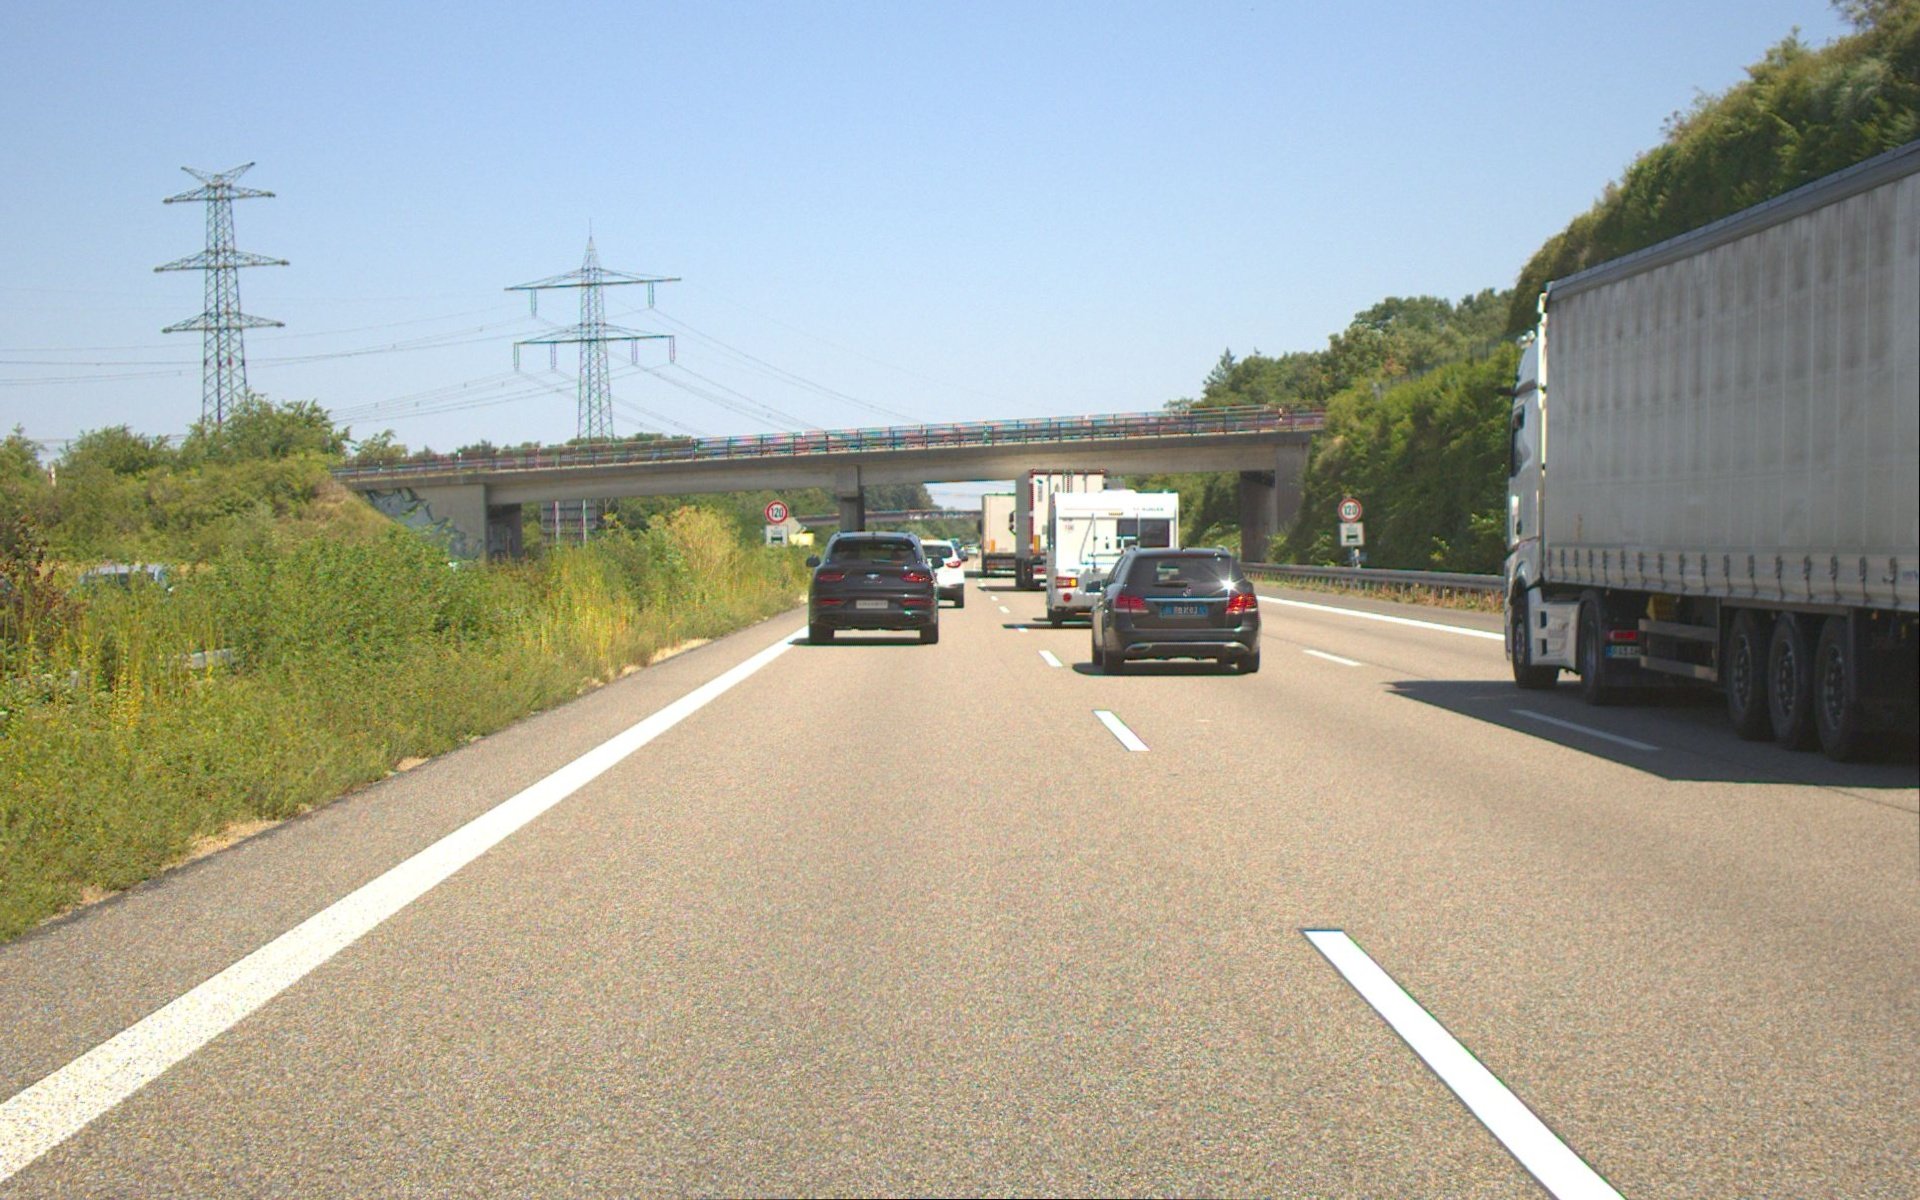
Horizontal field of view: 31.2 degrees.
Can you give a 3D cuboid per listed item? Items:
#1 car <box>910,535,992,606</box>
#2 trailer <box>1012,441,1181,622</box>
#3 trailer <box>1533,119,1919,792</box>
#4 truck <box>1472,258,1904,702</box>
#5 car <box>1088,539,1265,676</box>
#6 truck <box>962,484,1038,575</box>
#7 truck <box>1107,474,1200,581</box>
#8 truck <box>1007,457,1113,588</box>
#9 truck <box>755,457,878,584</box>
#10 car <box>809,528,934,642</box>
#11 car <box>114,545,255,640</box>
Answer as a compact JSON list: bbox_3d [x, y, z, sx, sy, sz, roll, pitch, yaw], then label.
[{"bbox_3d":[-0.242,-0.741,84.530,1.829,1.665,4.001,-1,1,-3],"label":"car"},{"bbox_3d":[2.529,-1.325,66.890,2.610,3.202,9.954,-1,1,-1],"label":"trailer"},{"bbox_3d":[7.370,-1.019,27.216,3.183,4.107,13.432,-1,1,-1],"label":"trailer"},{"bbox_3d":[7.279,-1.183,35.180,3.136,4.127,5.504,-1,1,-1],"label":"truck"},{"bbox_3d":[2.538,0.046,41.150,1.830,1.520,4.000,-1,1,0],"label":"car"},{"bbox_3d":[1.918,-3.473,168.861,3.409,4.265,10.608,-1,1,-1],"label":"truck"},{"bbox_3d":[7.988,-3.012,143.269,3.119,4.265,10.168,-1,1,-1],"label":"truck"},{"bbox_3d":[3.369,-2.678,119.190,3.119,4.265,11.934,-1,1,-1],"label":"truck"},{"bbox_3d":[-4.816,-2.703,117.713,3.961,4.099,9.954,-1,1,-1],"label":"truck"},{"bbox_3d":[-1.368,-0.268,53.414,1.830,1.665,4.000,-1,1,-1],"label":"car"},{"bbox_3d":[-14.207,-0.167,63.159,1.612,1.645,3.922,-1,1,1],"label":"car"}]
